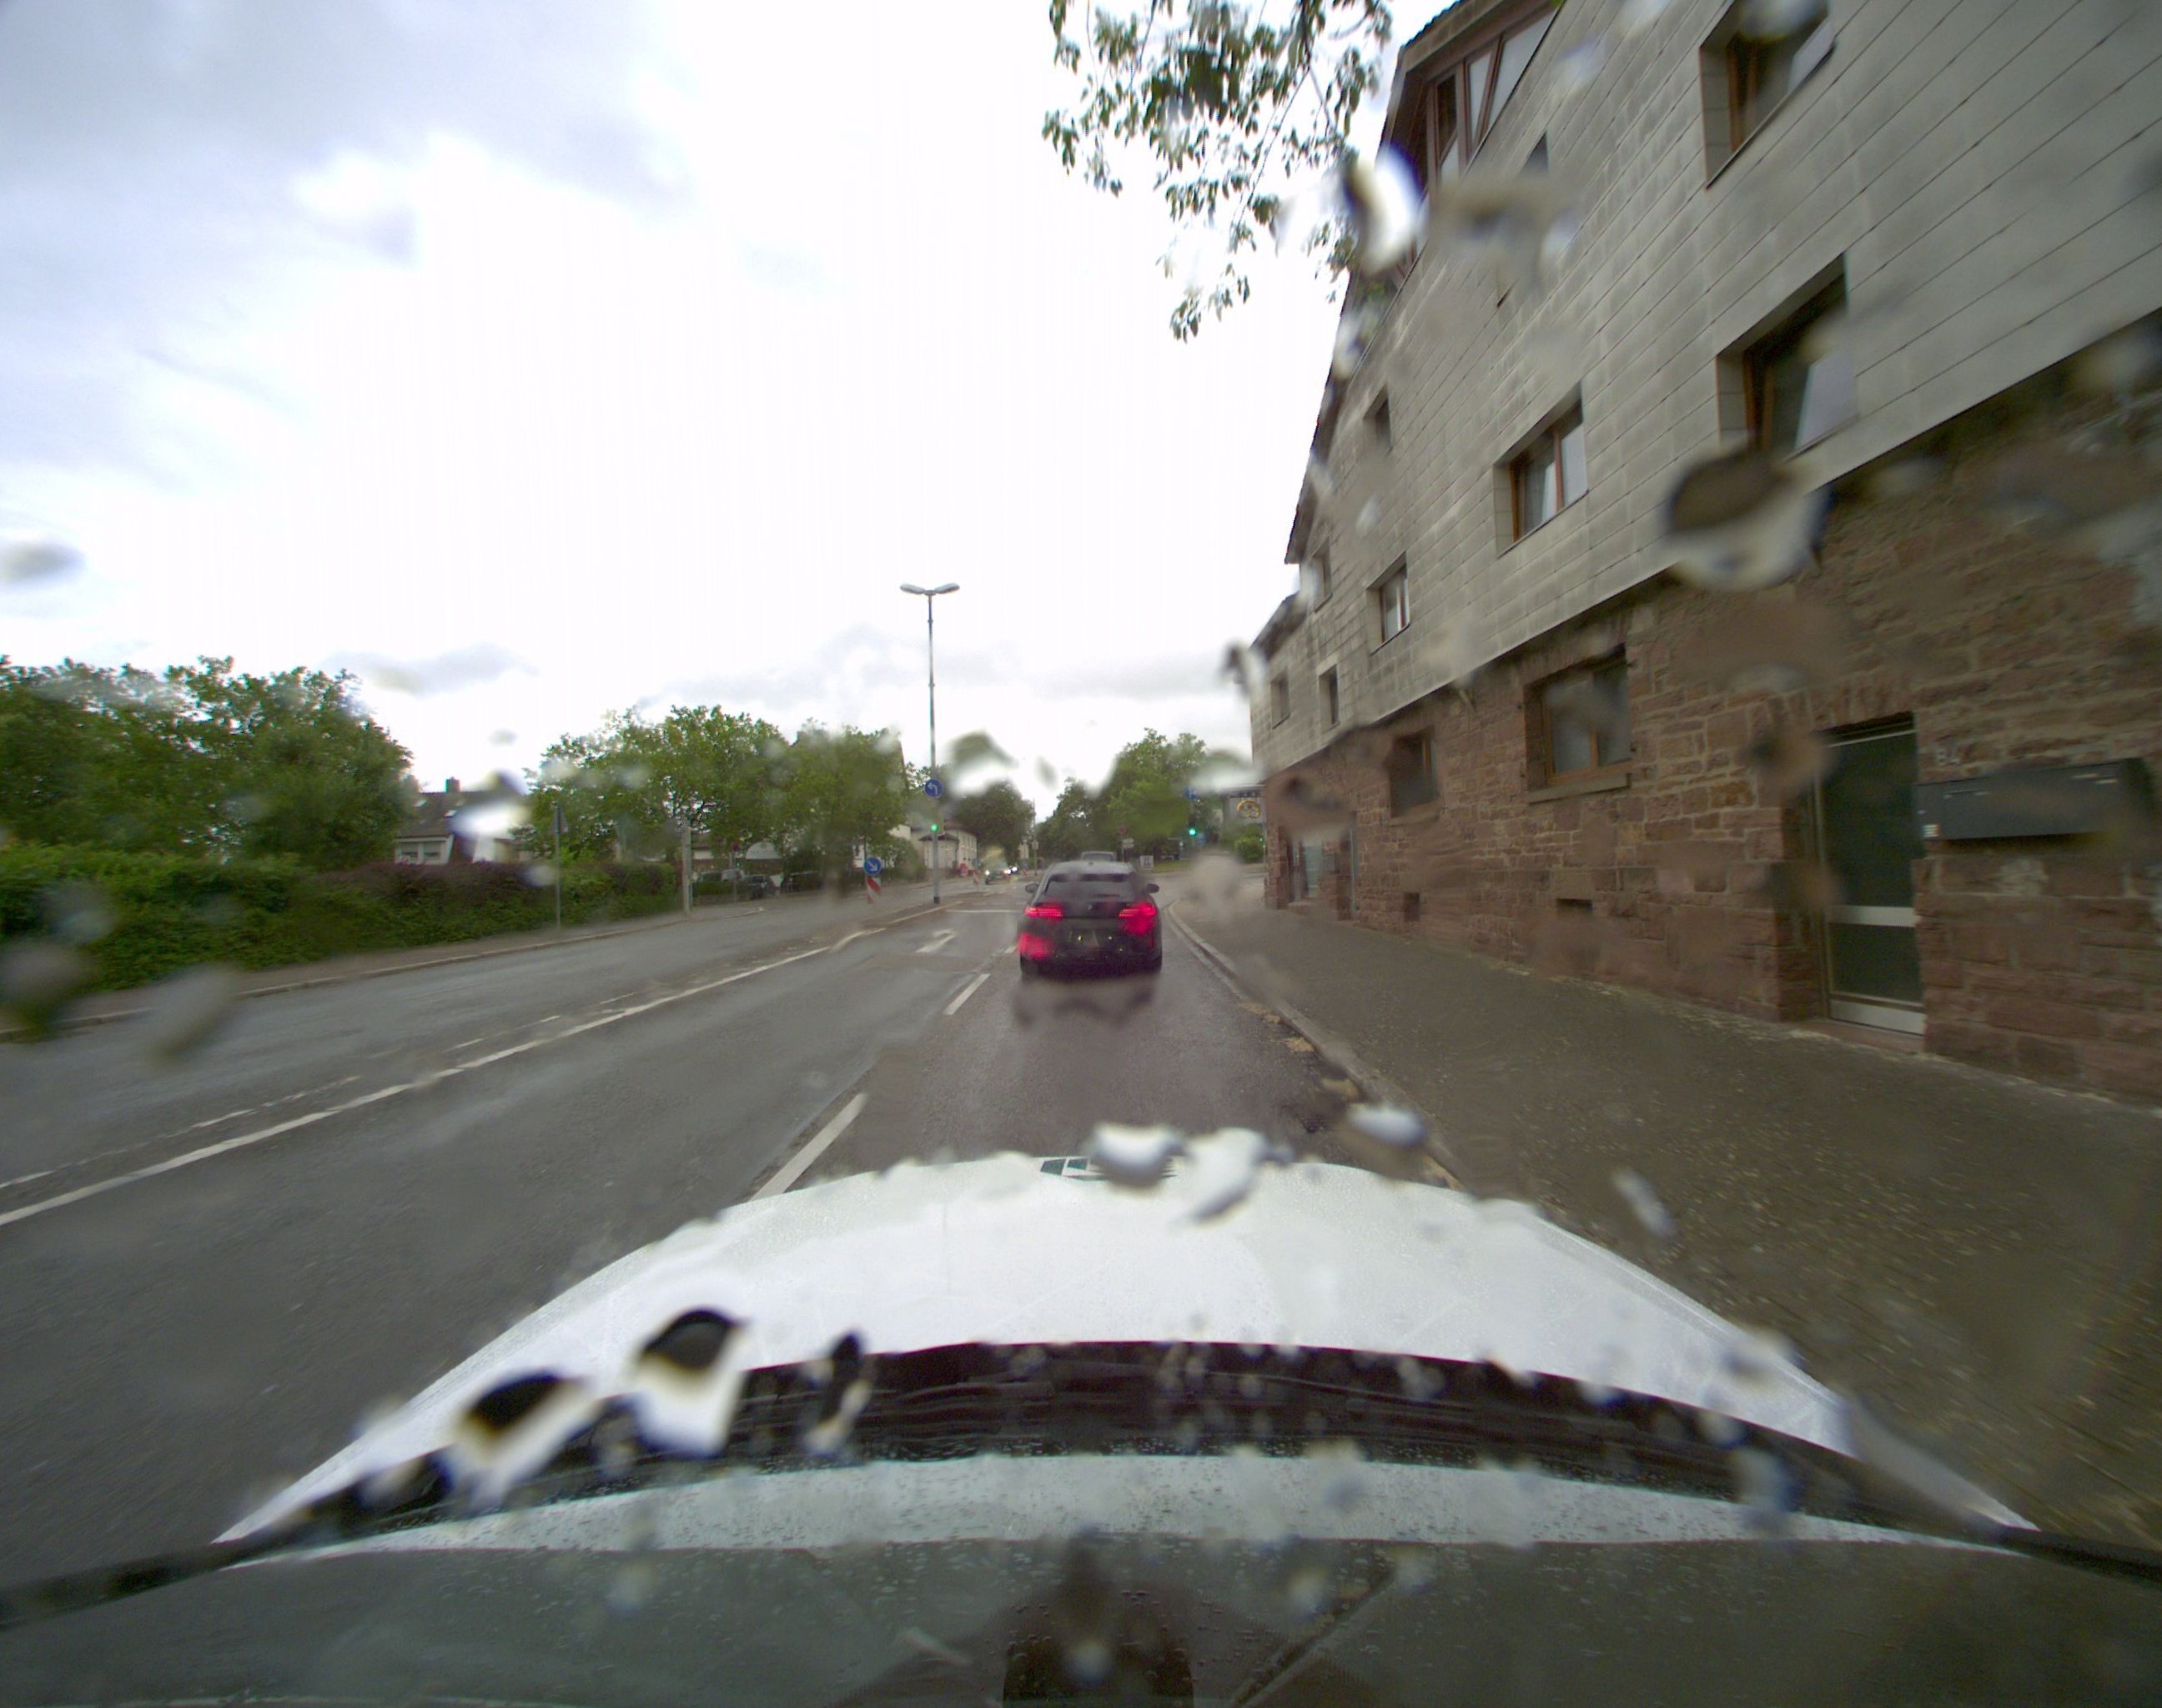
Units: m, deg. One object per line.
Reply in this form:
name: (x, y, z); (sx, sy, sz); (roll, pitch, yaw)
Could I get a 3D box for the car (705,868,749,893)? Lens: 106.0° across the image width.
car: (-29.616, 2.172, 68.269); (1.989, 2.014, 3.996); (0, -1, -2)

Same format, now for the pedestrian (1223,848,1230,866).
pedestrian: (13.098, 0.292, 73.254); (0.597, 1.617, 0.527); (0, -1, 8)

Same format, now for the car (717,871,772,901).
car: (-21.385, 2.012, 51.923); (1.803, 1.551, 4.000); (0, 3, 0)

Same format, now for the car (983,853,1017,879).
car: (-5.503, 0.794, 55.878); (1.893, 1.577, 4.500); (-2, 0, -1)

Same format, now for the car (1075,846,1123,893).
car: (0.702, 0.631, 33.666); (1.807, 1.809, 3.754); (0, -1, -1)

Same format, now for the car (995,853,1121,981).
car: (-0.315, 0.785, 11.634); (1.519, 1.534, 3.529); (0, -1, -1)

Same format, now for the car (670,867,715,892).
car: (-32.390, 2.090, 67.990); (1.989, 2.014, 3.996); (0, -1, -2)
